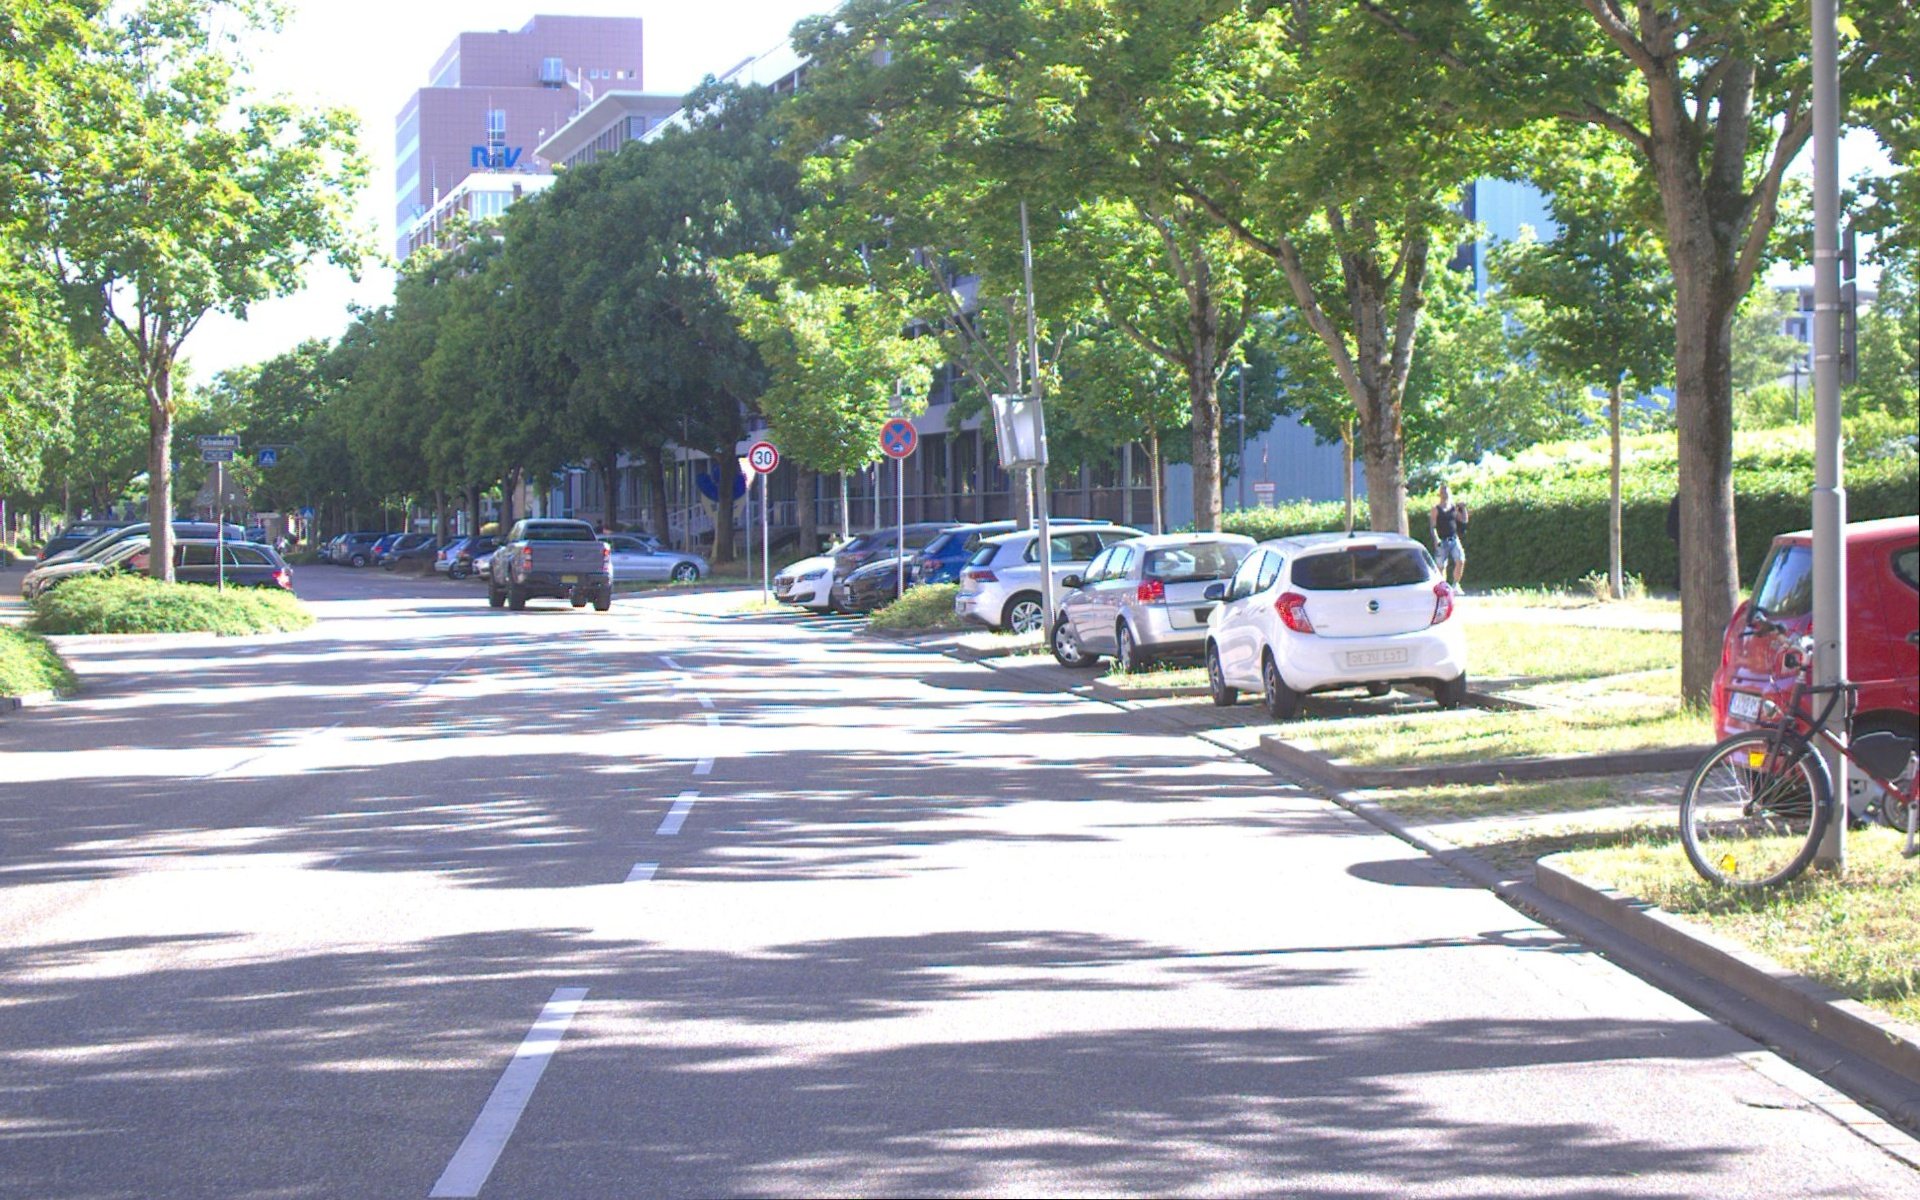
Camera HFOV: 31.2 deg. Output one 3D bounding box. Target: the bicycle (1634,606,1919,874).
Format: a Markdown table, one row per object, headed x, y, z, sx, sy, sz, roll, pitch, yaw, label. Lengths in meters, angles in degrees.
| x | y | z | sx | sy | sz | roll | pitch | yaw | label |
| --- | --- | --- | --- | --- | --- | --- | --- | --- | --- |
| 3.563 | 0.534 | 13.502 | 1.751 | 0.987 | 0.530 | -2 | 1 | 10 | bicycle |

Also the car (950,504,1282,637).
| x | y | z | sx | sy | sz | roll | pitch | yaw | label |
| --- | --- | --- | --- | --- | --- | --- | --- | --- | --- |
| 2.049 | -0.400 | 45.721 | 4.088 | 1.424 | 1.643 | -5 | 1 | -7 | car |

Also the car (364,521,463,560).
| x | y | z | sx | sy | sz | roll | pitch | yaw | label |
| --- | --- | --- | --- | --- | --- | --- | --- | --- | --- |
| -22.949 | -2.505 | 144.333 | 3.948 | 1.509 | 1.813 | -2 | 2 | -13 | car |

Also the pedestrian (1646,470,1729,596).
| x | y | z | sx | sy | sz | roll | pitch | yaw | label |
| --- | --- | --- | --- | --- | --- | --- | --- | --- | --- |
| 9.274 | -0.857 | 43.838 | 0.723 | 1.582 | 0.853 | -1 | 1 | -12 | pedestrian |

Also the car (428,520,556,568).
| x | y | z | sx | sy | sz | roll | pitch | yaw | label |
| --- | --- | --- | --- | --- | --- | --- | --- | --- | --- |
| -15.550 | -1.871 | 114.271 | 3.968 | 1.415 | 1.711 | -3 | 2 | -16 | car |

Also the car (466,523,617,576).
| x | y | z | sx | sy | sz | roll | pitch | yaw | label |
| --- | --- | --- | --- | --- | --- | --- | --- | --- | --- |
| -13.095 | -1.591 | 107.573 | 4.284 | 1.488 | 2.004 | -3 | 2 | -21 | car |

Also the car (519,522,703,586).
| x | y | z | sx | sy | sz | roll | pitch | yaw | label |
| --- | --- | --- | --- | --- | --- | --- | --- | --- | --- |
| -9.190 | -1.218 | 90.466 | 4.577 | 1.470 | 1.747 | -3 | 2 | -13 | car |

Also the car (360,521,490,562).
| x | y | z | sx | sy | sz | roll | pitch | yaw | label |
| --- | --- | --- | --- | --- | --- | --- | --- | --- | --- |
| -21.187 | -2.320 | 136.084 | 4.823 | 1.415 | 2.033 | -3 | 2 | -16 | car |

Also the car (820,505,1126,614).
| x | y | z | sx | sy | sz | roll | pitch | yaw | label |
| --- | --- | --- | --- | --- | --- | --- | --- | --- | --- |
| 0.193 | -0.671 | 56.357 | 4.548 | 1.509 | 2.159 | -3 | 1 | -14 | car |

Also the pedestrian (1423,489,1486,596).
| x | y | z | sx | sy | sz | roll | pitch | yaw | label |
| --- | --- | --- | --- | --- | --- | --- | --- | --- | --- |
| 7.253 | -0.844 | 50.470 | 0.606 | 1.537 | 0.937 | -1 | 1 | -12 | pedestrian |

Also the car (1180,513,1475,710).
| x | y | z | sx | sy | sz | roll | pitch | yaw | label |
| --- | --- | --- | --- | --- | --- | --- | --- | --- | --- |
| 3.074 | 0.046 | 29.462 | 1.643 | 1.488 | 3.766 | -3 | 2 | -7 | car |

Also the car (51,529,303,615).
| x | y | z | sx | sy | sz | roll | pitch | yaw | label |
| --- | --- | --- | --- | --- | --- | --- | --- | --- | --- |
| -13.804 | -0.500 | 60.830 | 4.261 | 1.419 | 1.740 | 1 | 1 | -11 | car |

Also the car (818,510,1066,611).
| x | y | z | sx | sy | sz | roll | pitch | yaw | label |
| --- | --- | --- | --- | --- | --- | --- | --- | --- | --- |
| -0.316 | -0.680 | 58.861 | 3.874 | 1.509 | 1.751 | -3 | 1 | -14 | car |

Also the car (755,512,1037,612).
| x | y | z | sx | sy | sz | roll | pitch | yaw | label |
| --- | --- | --- | --- | --- | --- | --- | --- | --- | --- |
| -1.150 | -0.675 | 61.297 | 4.548 | 1.509 | 1.983 | -3 | 1 | -20 | car |

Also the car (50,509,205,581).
| x | y | z | sx | sy | sz | roll | pitch | yaw | label |
| --- | --- | --- | --- | --- | --- | --- | --- | --- | --- |
| -25.204 | -1.672 | 104.175 | 4.486 | 2.082 | 2.083 | 1 | 1 | -12 | car |

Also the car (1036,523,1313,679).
| x | y | z | sx | sy | sz | roll | pitch | yaw | label |
| --- | --- | --- | --- | --- | --- | --- | --- | --- | --- |
| 2.249 | -0.035 | 37.446 | 1.808 | 1.488 | 4.625 | -3 | 2 | -11 | car |

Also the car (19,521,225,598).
| x | y | z | sx | sy | sz | roll | pitch | yaw | label |
| --- | --- | --- | --- | --- | --- | --- | --- | --- | --- |
| -16.577 | -0.804 | 68.019 | 3.890 | 1.419 | 1.740 | 1 | 1 | -14 | car |

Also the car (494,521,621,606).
| x | y | z | sx | sy | sz | roll | pitch | yaw | label |
| --- | --- | --- | --- | --- | --- | --- | --- | --- | --- |
| -8.154 | -0.752 | 69.408 | 1.993 | 1.634 | 4.001 | 1 | 1 | -15 | car |

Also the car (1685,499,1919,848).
| x | y | z | sx | sy | sz | roll | pitch | yaw | label |
| --- | --- | --- | --- | --- | --- | --- | --- | --- | --- |
| 5.399 | 0.234 | 16.404 | 3.434 | 1.539 | 1.627 | -4 | 0 | -1 | car |

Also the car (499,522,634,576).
| x | y | z | sx | sy | sz | roll | pitch | yaw | label |
| --- | --- | --- | --- | --- | --- | --- | --- | --- | --- |
| -11.983 | -1.551 | 104.607 | 3.742 | 1.488 | 1.617 | -3 | 2 | -20 | car |

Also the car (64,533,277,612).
| x | y | z | sx | sy | sz | roll | pitch | yaw | label |
| --- | --- | --- | --- | --- | --- | --- | --- | --- | --- |
| -15.068 | -0.524 | 65.584 | 3.890 | 1.419 | 1.740 | 1 | 1 | -14 | car |

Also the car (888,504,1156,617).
| x | y | z | sx | sy | sz | roll | pitch | yaw | label |
| --- | --- | --- | --- | --- | --- | --- | --- | --- | --- |
| 0.953 | -0.625 | 53.755 | 3.804 | 1.443 | 1.745 | -5 | 2 | -12 | car |

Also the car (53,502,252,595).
| x | y | z | sx | sy | sz | roll | pitch | yaw | label |
| --- | --- | --- | --- | --- | --- | --- | --- | --- | --- |
| -16.553 | -1.047 | 70.467 | 3.890 | 1.805 | 1.786 | 1 | 1 | -14 | car |

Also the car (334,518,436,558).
| x | y | z | sx | sy | sz | roll | pitch | yaw | label |
| --- | --- | --- | --- | --- | --- | --- | --- | --- | --- |
| -26.434 | -2.858 | 157.982 | 4.350 | 1.698 | 1.813 | -3 | 2 | -17 | car |

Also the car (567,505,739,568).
| x | y | z | sx | sy | sz | roll | pitch | yaw | label |
| --- | --- | --- | --- | --- | --- | --- | --- | --- | --- |
| -8.493 | -1.761 | 94.978 | 4.514 | 1.537 | 1.922 | -2 | 2 | -10 | car |

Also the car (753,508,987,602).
| x | y | z | sx | sy | sz | roll | pitch | yaw | label |
| --- | --- | --- | --- | --- | --- | --- | --- | --- | --- |
| -1.674 | -0.840 | 63.847 | 3.947 | 1.509 | 1.702 | -3 | 1 | -20 | car |
